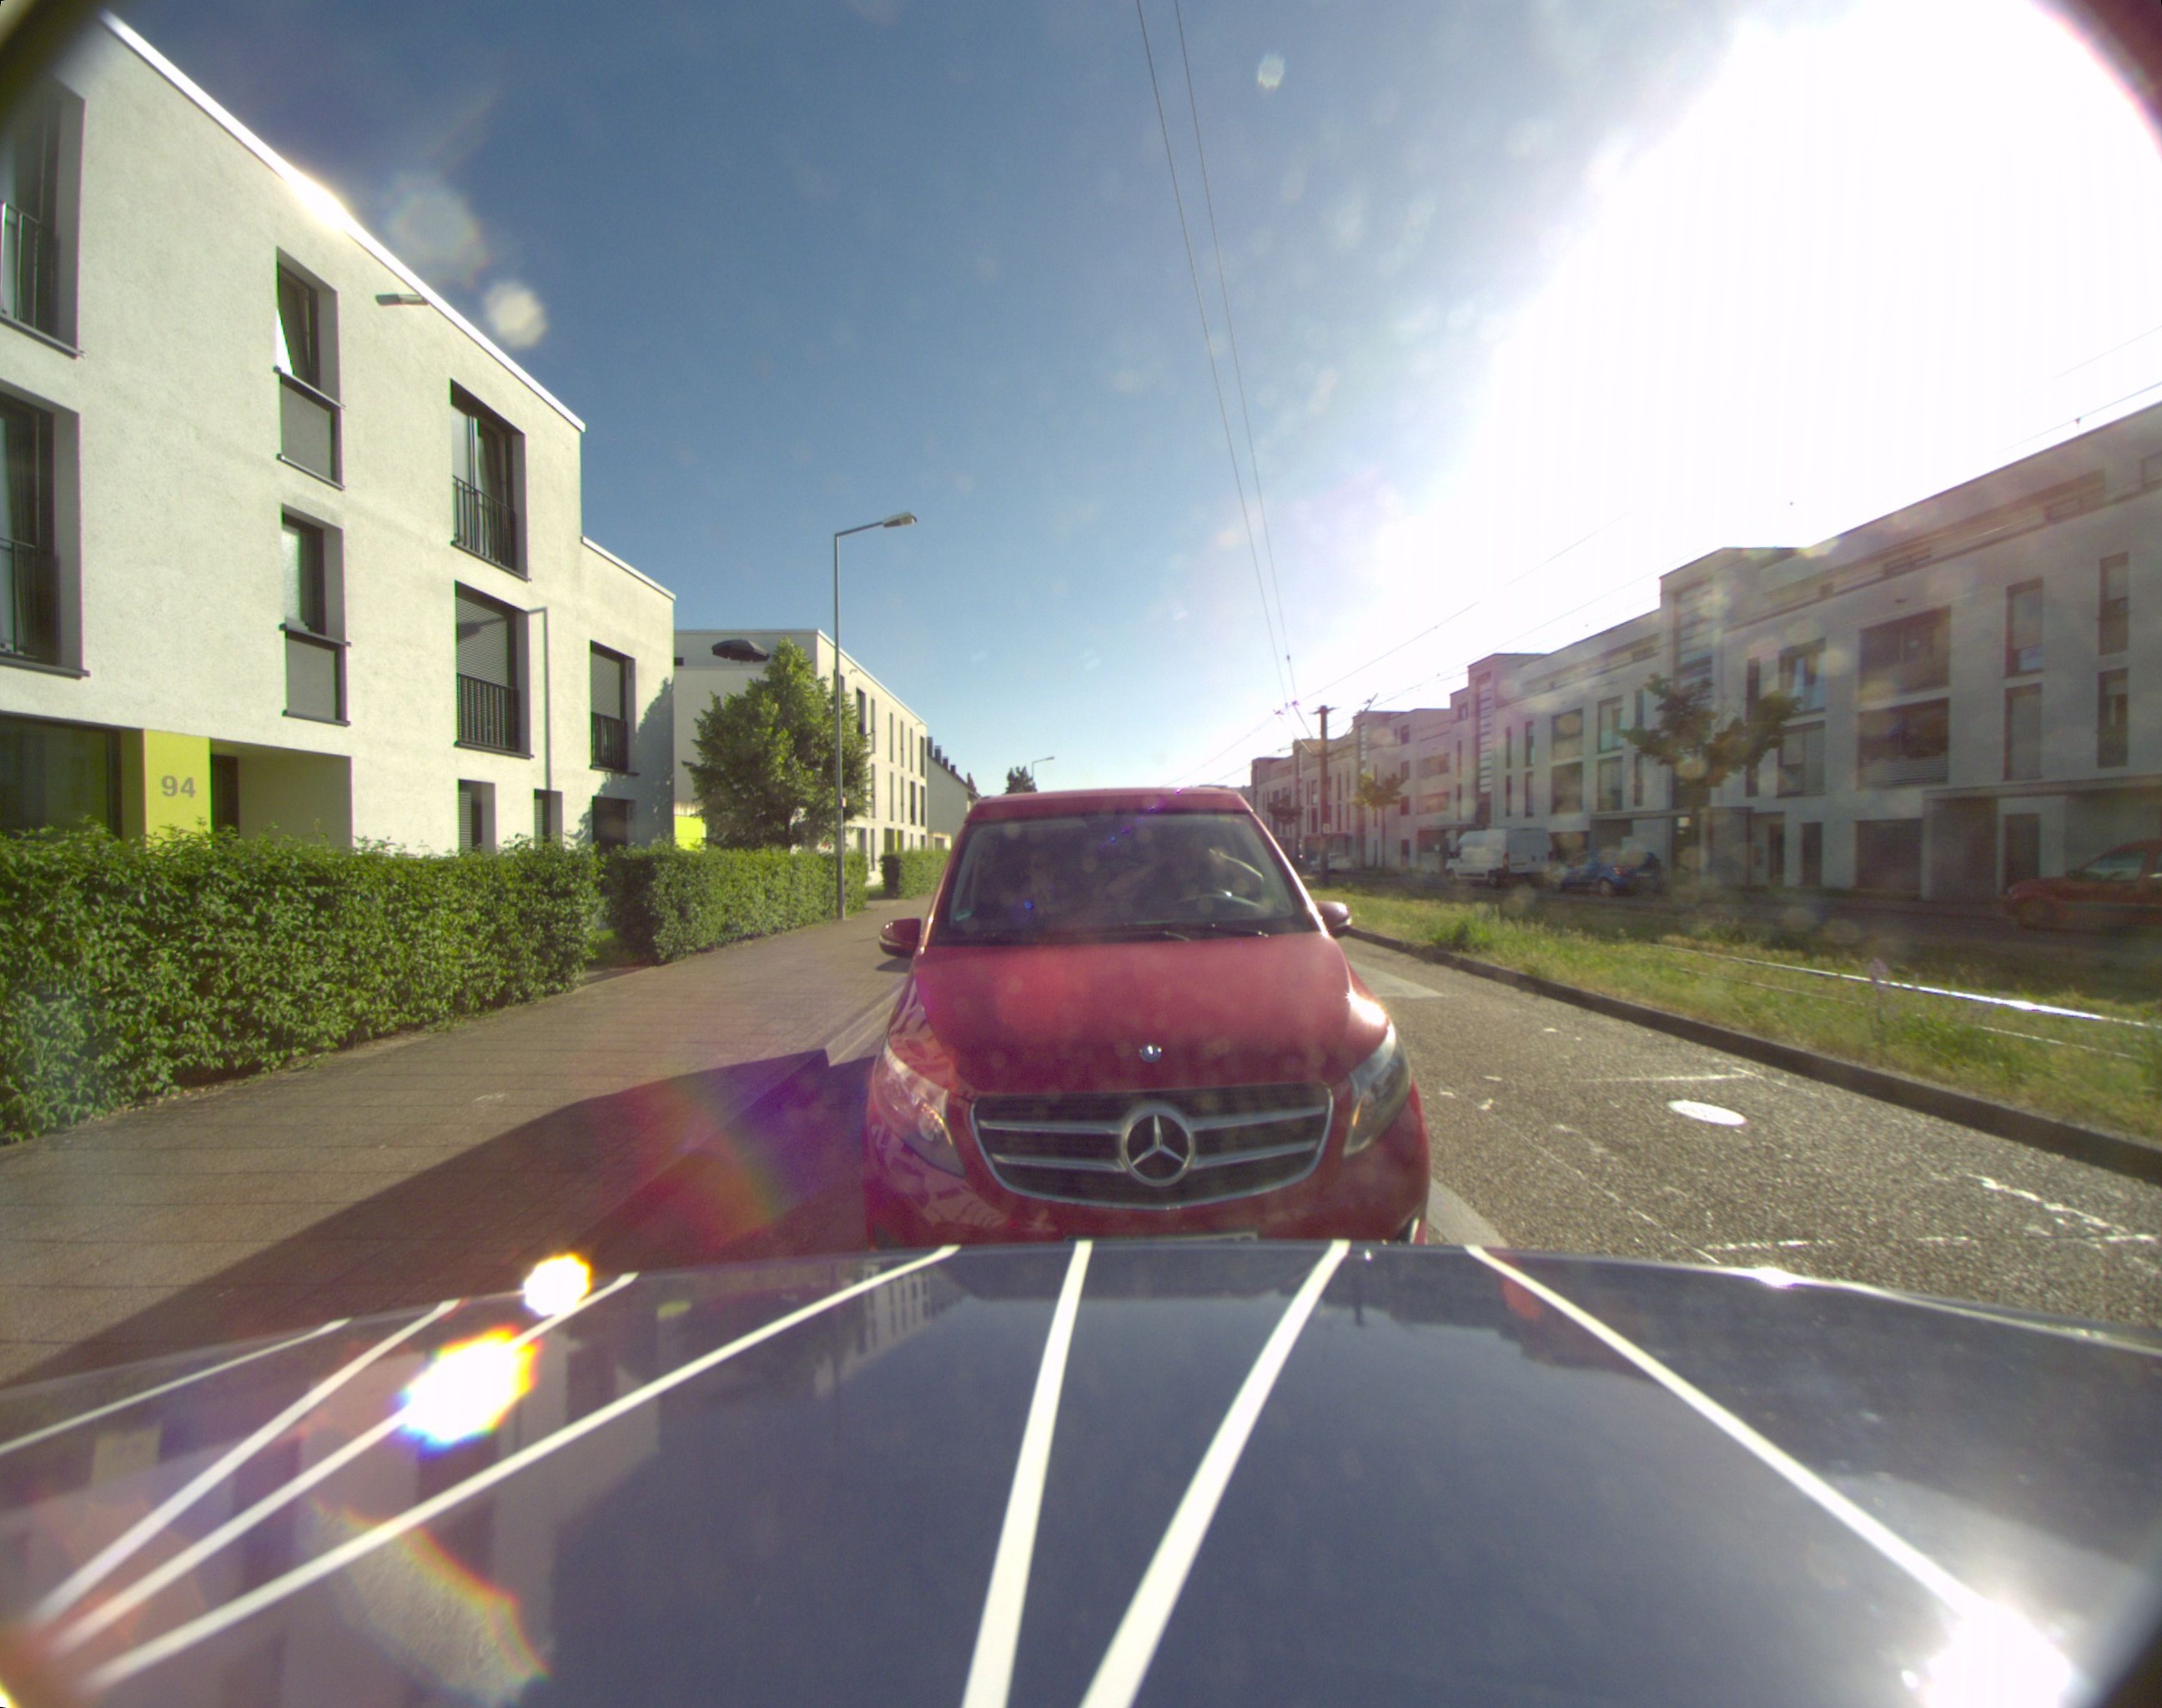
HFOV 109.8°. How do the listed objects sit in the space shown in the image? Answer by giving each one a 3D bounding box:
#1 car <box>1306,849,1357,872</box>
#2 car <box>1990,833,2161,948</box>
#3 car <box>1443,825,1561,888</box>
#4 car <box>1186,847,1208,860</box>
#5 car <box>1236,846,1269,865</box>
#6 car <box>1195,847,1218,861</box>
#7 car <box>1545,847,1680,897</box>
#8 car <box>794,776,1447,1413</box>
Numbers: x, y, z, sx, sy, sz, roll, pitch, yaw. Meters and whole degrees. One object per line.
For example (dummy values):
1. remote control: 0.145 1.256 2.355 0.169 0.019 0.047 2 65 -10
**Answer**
1. car: 17.635 0.409 53.746 1.923 1.497 4.282 -2 1 -4
2. car: 18.618 0.573 12.815 1.998 1.817 3.895 -2 1 3
3. car: 18.170 0.069 33.177 2.225 2.458 5.195 -2 1 0
4. car: 15.189 -0.066 99.664 1.923 1.671 4.282 -2 1 -4
5. car: 16.720 0.127 74.361 1.923 1.671 4.282 -2 1 -4
6. car: 15.476 -0.044 93.912 1.923 1.671 4.282 -2 1 -4
7. car: 18.378 0.570 26.506 1.999 1.536 3.835 -2 1 0
8. car: 0.153 0.701 4.513 1.874 1.843 4.506 -2 1 1
